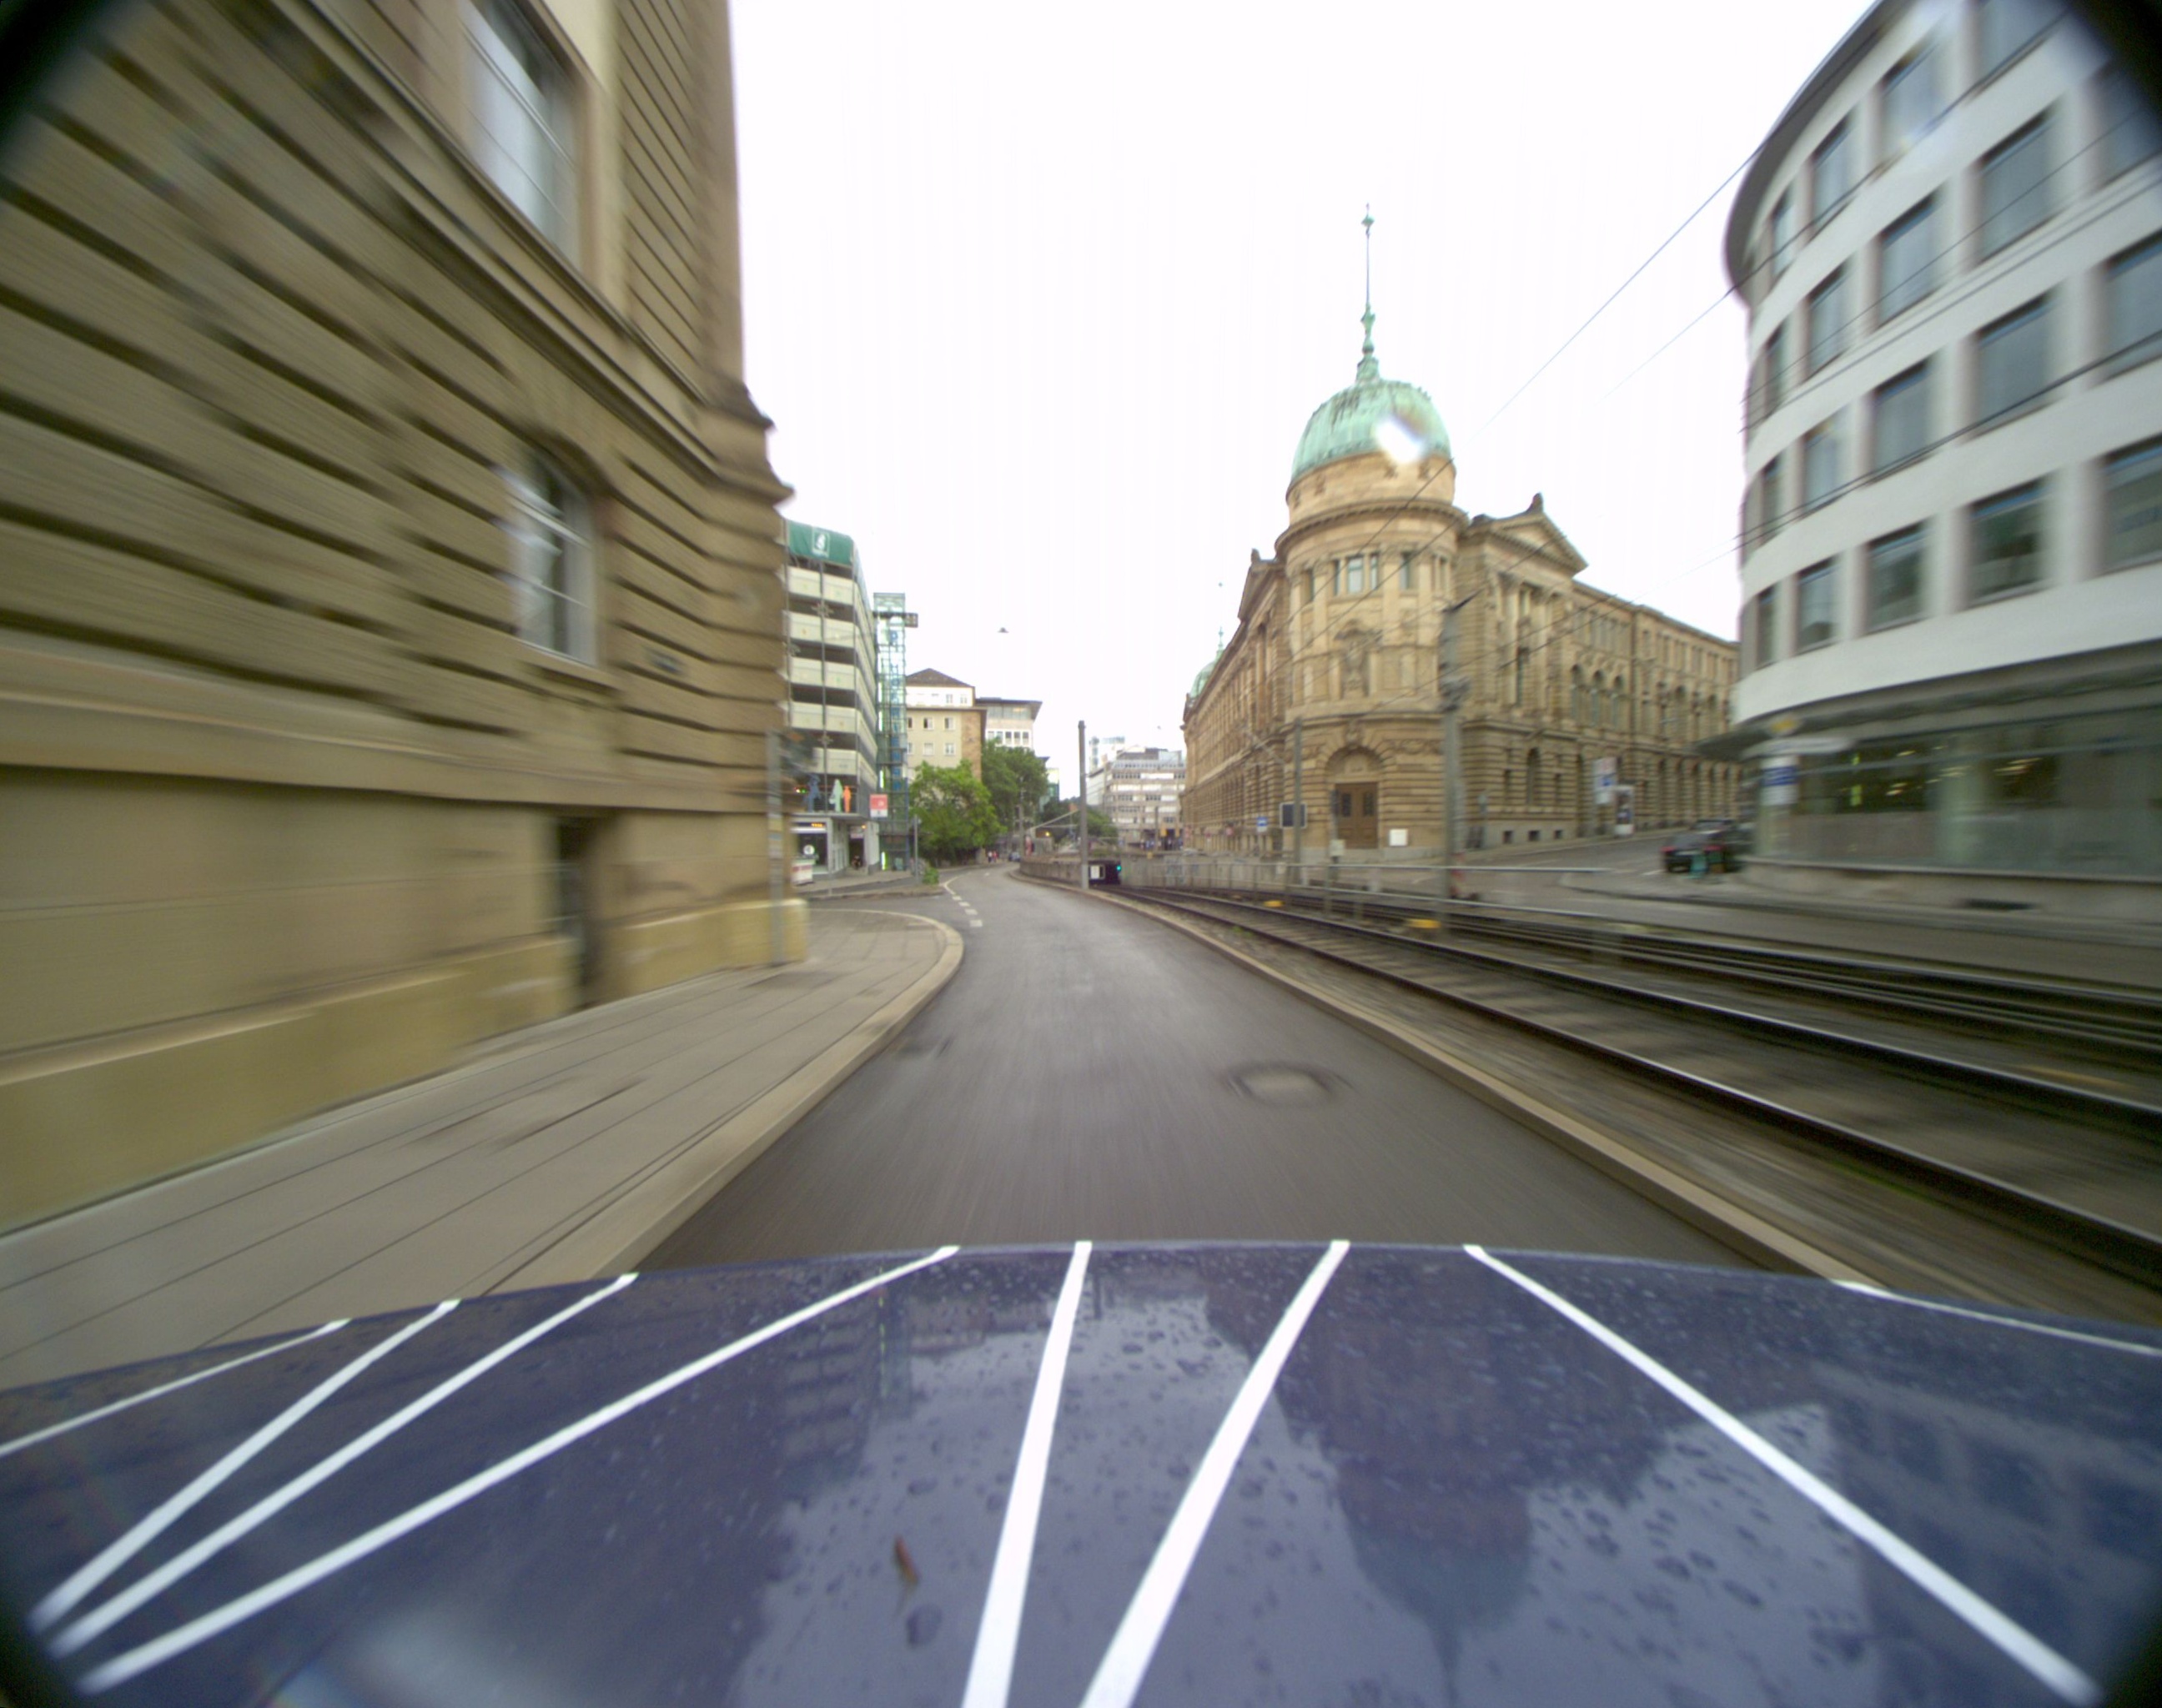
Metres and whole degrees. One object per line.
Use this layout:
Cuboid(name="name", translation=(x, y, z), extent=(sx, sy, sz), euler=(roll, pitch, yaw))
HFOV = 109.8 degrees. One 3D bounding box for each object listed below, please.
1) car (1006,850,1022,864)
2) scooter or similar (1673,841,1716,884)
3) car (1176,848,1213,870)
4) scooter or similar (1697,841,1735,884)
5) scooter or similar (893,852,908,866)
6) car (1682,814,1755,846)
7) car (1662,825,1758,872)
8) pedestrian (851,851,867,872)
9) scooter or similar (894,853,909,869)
Cuboid(name="car", translation=(-10.005, 0.402, 113.417), extent=(2.000, 1.806, 3.996), euler=(-3, 2, -9))
Cuboid(name="scooter or similar", translation=(18.306, 0.227, 22.702), extent=(0.410, 1.194, 1.561), euler=(-2, 2, 16))
Cuboid(name="car", translation=(8.443, 0.363, 56.921), extent=(1.999, 1.379, 3.998), euler=(-3, 2, -2))
Cuboid(name="scooter or similar", translation=(18.781, 0.233, 22.503), extent=(0.410, 1.194, 1.562), euler=(-2, 2, 22))
Cuboid(name="scooter or similar", translation=(-14.676, 0.390, 61.719), extent=(1.078, 1.167, 0.464), euler=(-1, 1, -33))
Cuboid(name="car", translation=(36.142, -1.353, 43.052), extent=(4.006, 1.631, 1.995), euler=(-4, 2, -32))
Cuboid(name="car", translation=(21.915, -0.223, 26.417), extent=(4.334, 1.390, 1.780), euler=(-4, 2, -40))
Cuboid(name="pedestrian", translation=(-14.603, 0.490, 50.001), extent=(0.905, 1.375, 1.031), euler=(0, 1, -12))
Cuboid(name="scooter or similar", translation=(-14.103, 0.543, 59.693), extent=(1.078, 1.167, 0.464), euler=(-1, 1, -33))
